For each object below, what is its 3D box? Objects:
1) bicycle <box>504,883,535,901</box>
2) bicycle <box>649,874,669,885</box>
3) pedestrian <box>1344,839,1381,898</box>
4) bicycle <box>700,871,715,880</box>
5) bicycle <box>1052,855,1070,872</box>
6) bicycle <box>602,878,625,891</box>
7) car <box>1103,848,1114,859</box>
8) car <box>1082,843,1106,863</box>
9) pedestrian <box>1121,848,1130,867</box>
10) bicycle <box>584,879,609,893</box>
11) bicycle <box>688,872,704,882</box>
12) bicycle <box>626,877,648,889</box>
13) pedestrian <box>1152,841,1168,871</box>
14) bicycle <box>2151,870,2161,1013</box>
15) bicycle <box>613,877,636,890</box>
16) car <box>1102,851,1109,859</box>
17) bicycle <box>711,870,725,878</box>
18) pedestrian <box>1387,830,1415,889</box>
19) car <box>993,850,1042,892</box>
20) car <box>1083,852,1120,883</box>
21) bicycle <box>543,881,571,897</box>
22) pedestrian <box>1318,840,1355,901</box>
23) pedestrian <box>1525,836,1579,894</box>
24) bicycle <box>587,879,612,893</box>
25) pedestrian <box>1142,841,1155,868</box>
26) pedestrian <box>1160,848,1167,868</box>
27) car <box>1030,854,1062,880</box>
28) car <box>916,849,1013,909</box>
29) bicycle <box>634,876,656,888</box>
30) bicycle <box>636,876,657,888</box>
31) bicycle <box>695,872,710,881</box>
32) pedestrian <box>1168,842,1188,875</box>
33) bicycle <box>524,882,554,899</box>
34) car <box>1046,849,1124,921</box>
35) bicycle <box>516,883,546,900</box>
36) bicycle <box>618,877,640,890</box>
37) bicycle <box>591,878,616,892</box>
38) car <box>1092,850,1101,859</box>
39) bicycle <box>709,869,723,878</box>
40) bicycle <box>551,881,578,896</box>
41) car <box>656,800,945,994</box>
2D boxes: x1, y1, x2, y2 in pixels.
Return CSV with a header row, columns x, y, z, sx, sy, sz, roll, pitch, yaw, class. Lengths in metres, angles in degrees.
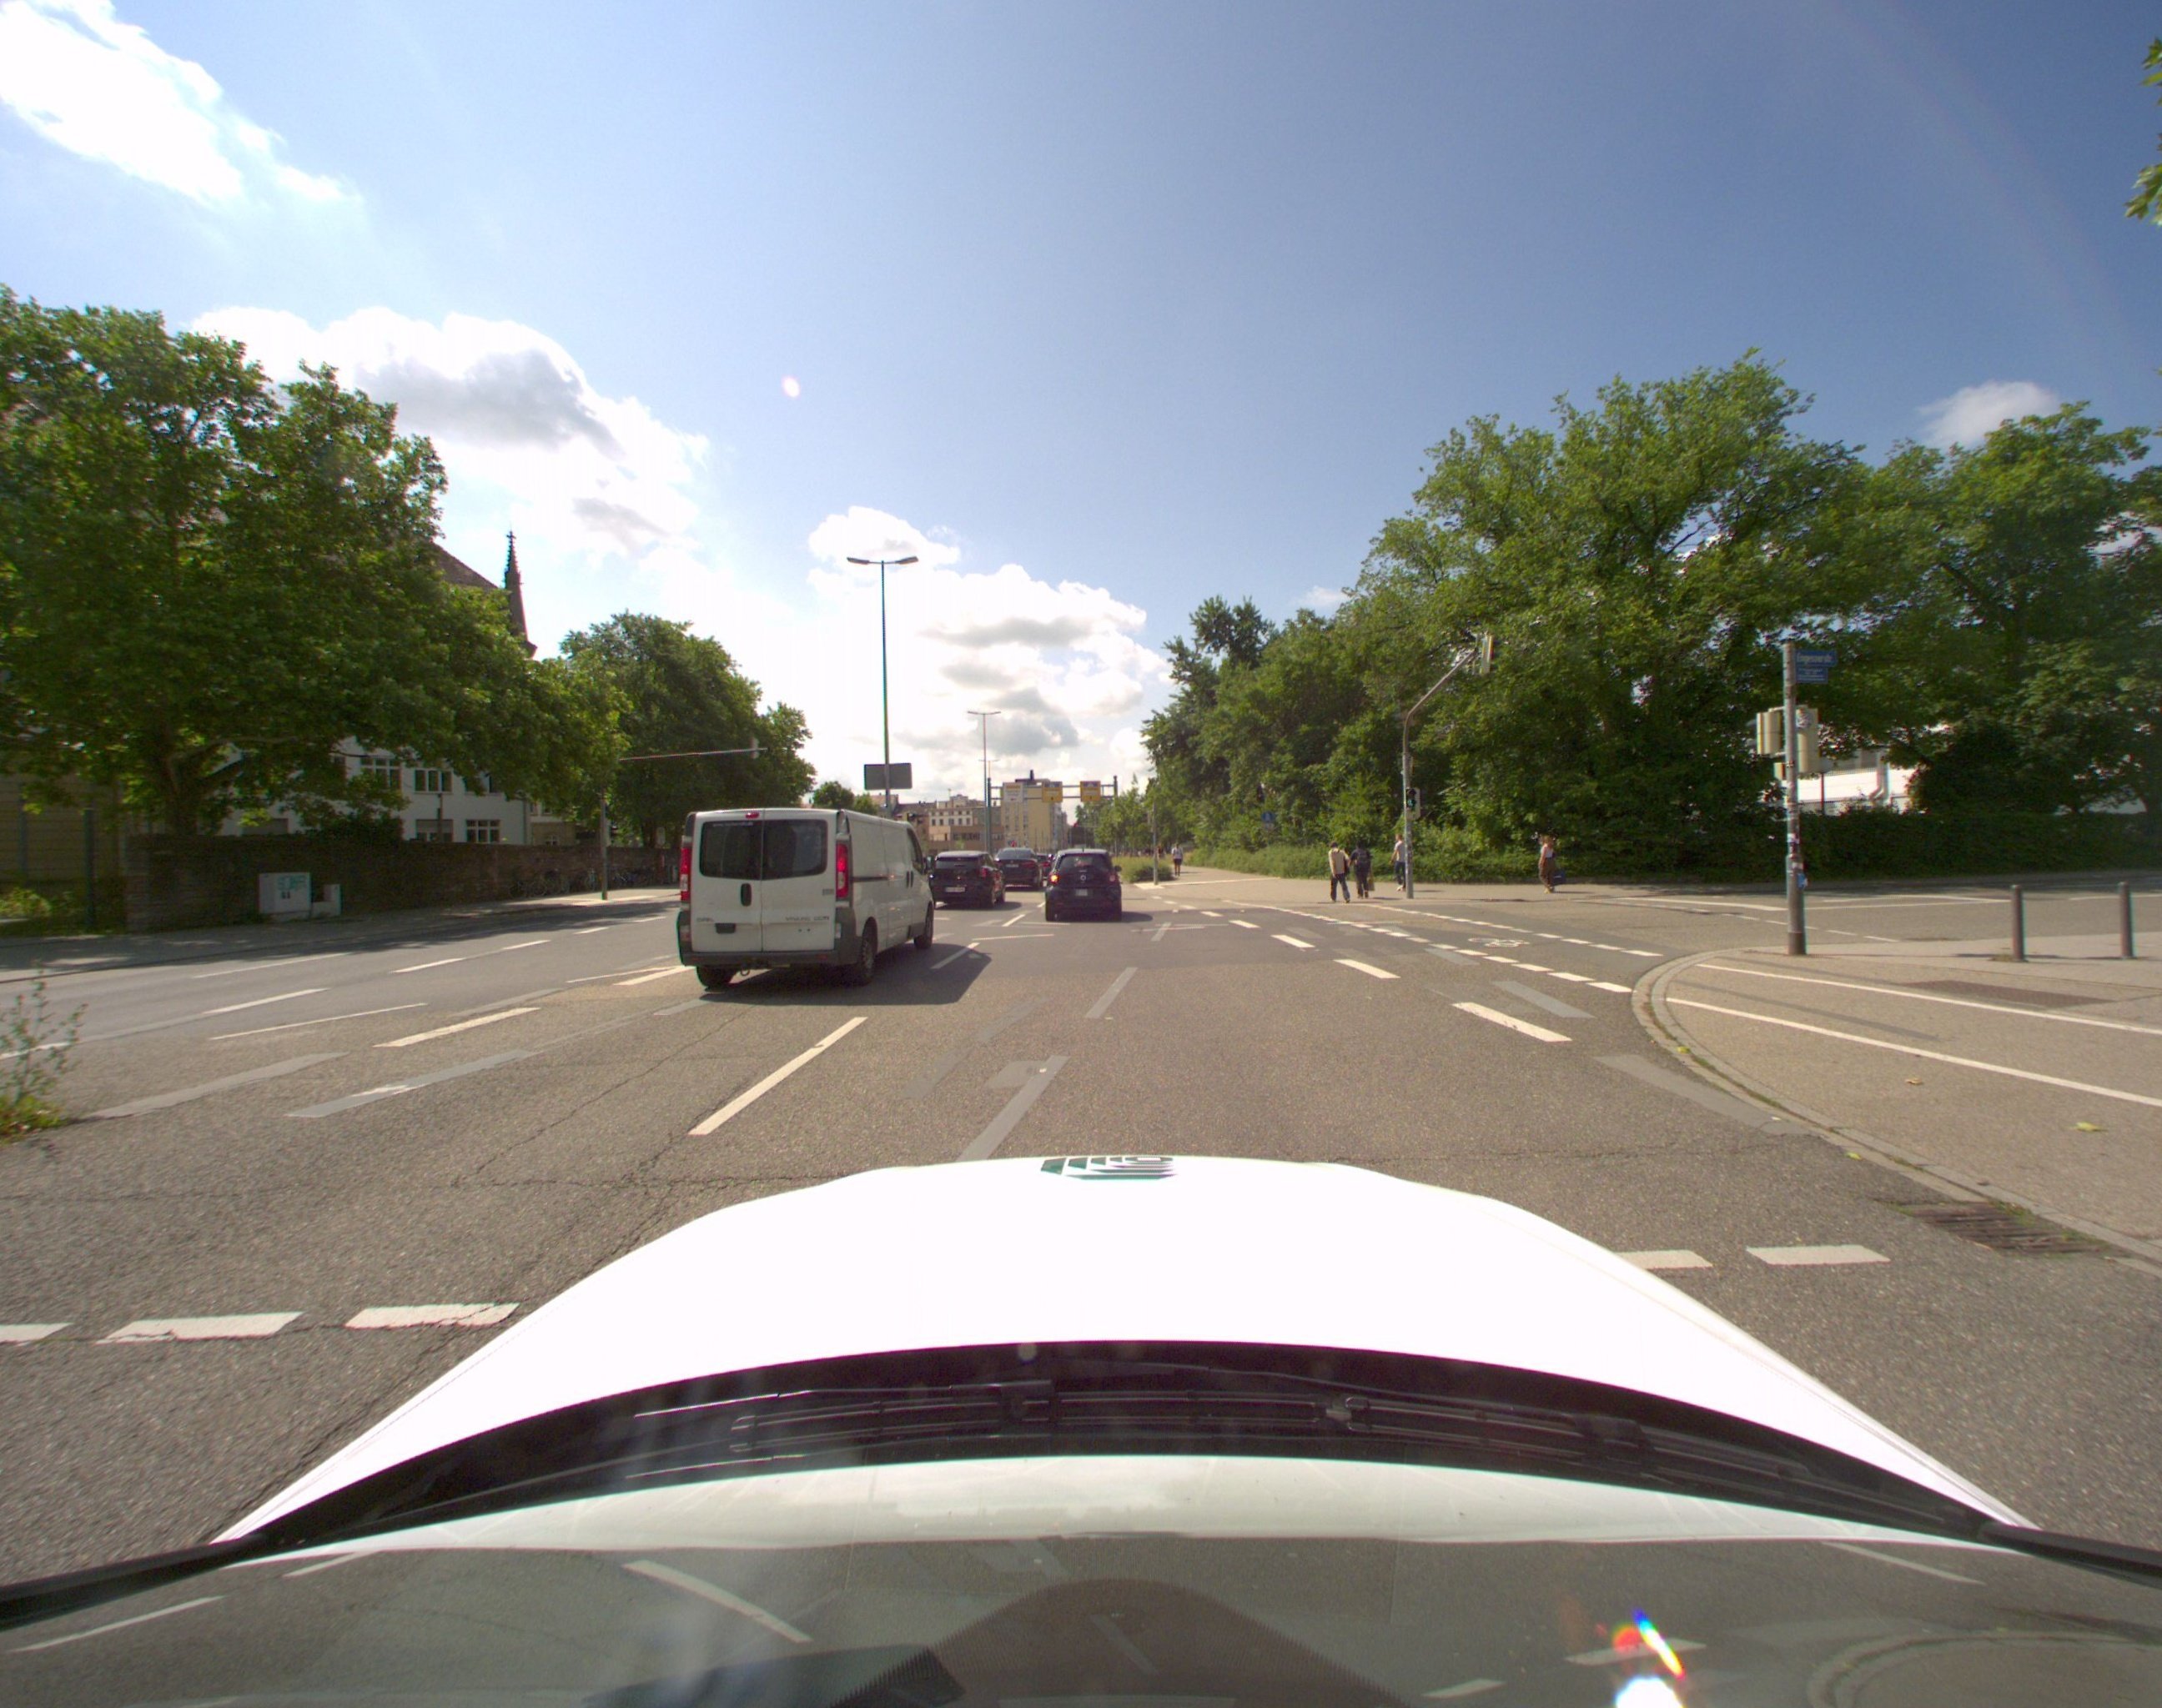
x,y,z,sx,sy,sz,roll,pitch,yaw,class
-22.862,1.552,33.154,1.010,0.682,0.405,1,-1,-30,bicycle
-26.237,1.576,50.622,1.013,0.682,0.404,1,-1,-43,bicycle
8.219,0.407,23.836,0.791,1.704,1.184,-1,1,6,pedestrian
-29.630,1.725,64.595,1.013,0.682,0.404,1,-1,-43,bicycle
-2.477,1.157,100.506,1.989,2.014,3.994,0,0,-4,bicycle
-24.919,1.610,43.415,1.013,0.682,0.404,1,-1,-43,bicycle
5.006,-0.061,146.590,1.936,1.963,3.951,0,0,2,car
0.931,-0.096,61.226,1.607,1.411,3.515,1,0,-2,car
4.843,0.378,87.894,0.836,1.969,0.860,-1,0,-4,pedestrian
-23.974,1.595,40.320,1.013,0.682,0.404,1,-1,-43,bicycle
-28.179,1.700,59.632,1.013,0.682,0.404,1,-1,-43,bicycle
-25.115,1.627,46.102,1.013,0.682,0.404,1,-1,-43,bicycle
4.988,0.132,51.426,0.836,1.868,1.018,-1,0,-4,pedestrian
8.546,0.646,5.221,0.813,1.072,1.889,-4,1,-3,bicycle
-24.914,1.617,44.488,1.013,0.682,0.404,1,-1,-43,bicycle
6.157,0.355,204.476,1.936,1.963,3.951,0,0,2,car
-32.507,1.763,72.948,1.013,0.682,0.404,1,-1,-43,bicycle
10.129,0.171,25.811,0.667,1.820,0.704,-1,1,6,pedestrian
-2.539,0.643,33.443,1.822,1.601,4.390,0,0,-2,car
0.961,0.640,39.427,1.607,1.411,3.514,1,-1,-2,car
-23.491,1.571,36.523,1.010,0.682,0.405,1,-1,-30,bicycle
7.233,0.448,23.107,0.791,1.704,1.184,-1,1,6,pedestrian
13.678,0.304,23.671,0.859,1.626,1.012,-3,2,-25,pedestrian
-24.222,1.597,40.960,1.013,0.682,0.404,1,-1,-43,bicycle
5.019,0.053,60.672,0.836,1.969,0.860,-1,0,-4,pedestrian
8.124,0.397,79.920,0.502,1.890,0.558,1,-1,-12,pedestrian
-1.848,0.668,43.325,1.607,1.325,3.515,-1,0,-2,car
-3.185,0.645,23.288,2.010,1.530,4.887,0,0,0,car
-25.356,1.634,47.373,1.013,0.682,0.404,1,-1,-43,bicycle
-25.679,1.635,48.091,1.013,0.682,0.404,1,-1,-43,bicycle
-29.067,1.714,62.539,1.013,0.682,0.404,1,-1,-43,bicycle
5.061,0.239,42.517,0.849,1.701,0.930,-3,-1,-2,pedestrian
-23.374,1.563,35.135,1.010,0.682,0.405,1,-1,-30,bicycle
0.030,0.640,18.498,1.607,1.485,3.514,0,0,-2,car
-23.154,1.558,34.279,1.010,0.682,0.405,1,-1,-30,bicycle
-25.027,1.621,45.100,1.013,0.682,0.404,1,-1,-43,bicycle
-24.436,1.601,41.697,1.013,0.682,0.404,1,-1,-43,bicycle
3.436,0.172,181.475,1.936,1.963,3.951,0,0,2,car
-30.986,1.649,69.078,1.013,0.682,0.404,1,-1,-43,bicycle
-23.885,1.577,37.659,1.010,0.682,0.405,1,-1,-30,bicycle
-3.278,0.434,10.850,1.999,1.955,5.194,0,0,0,car
